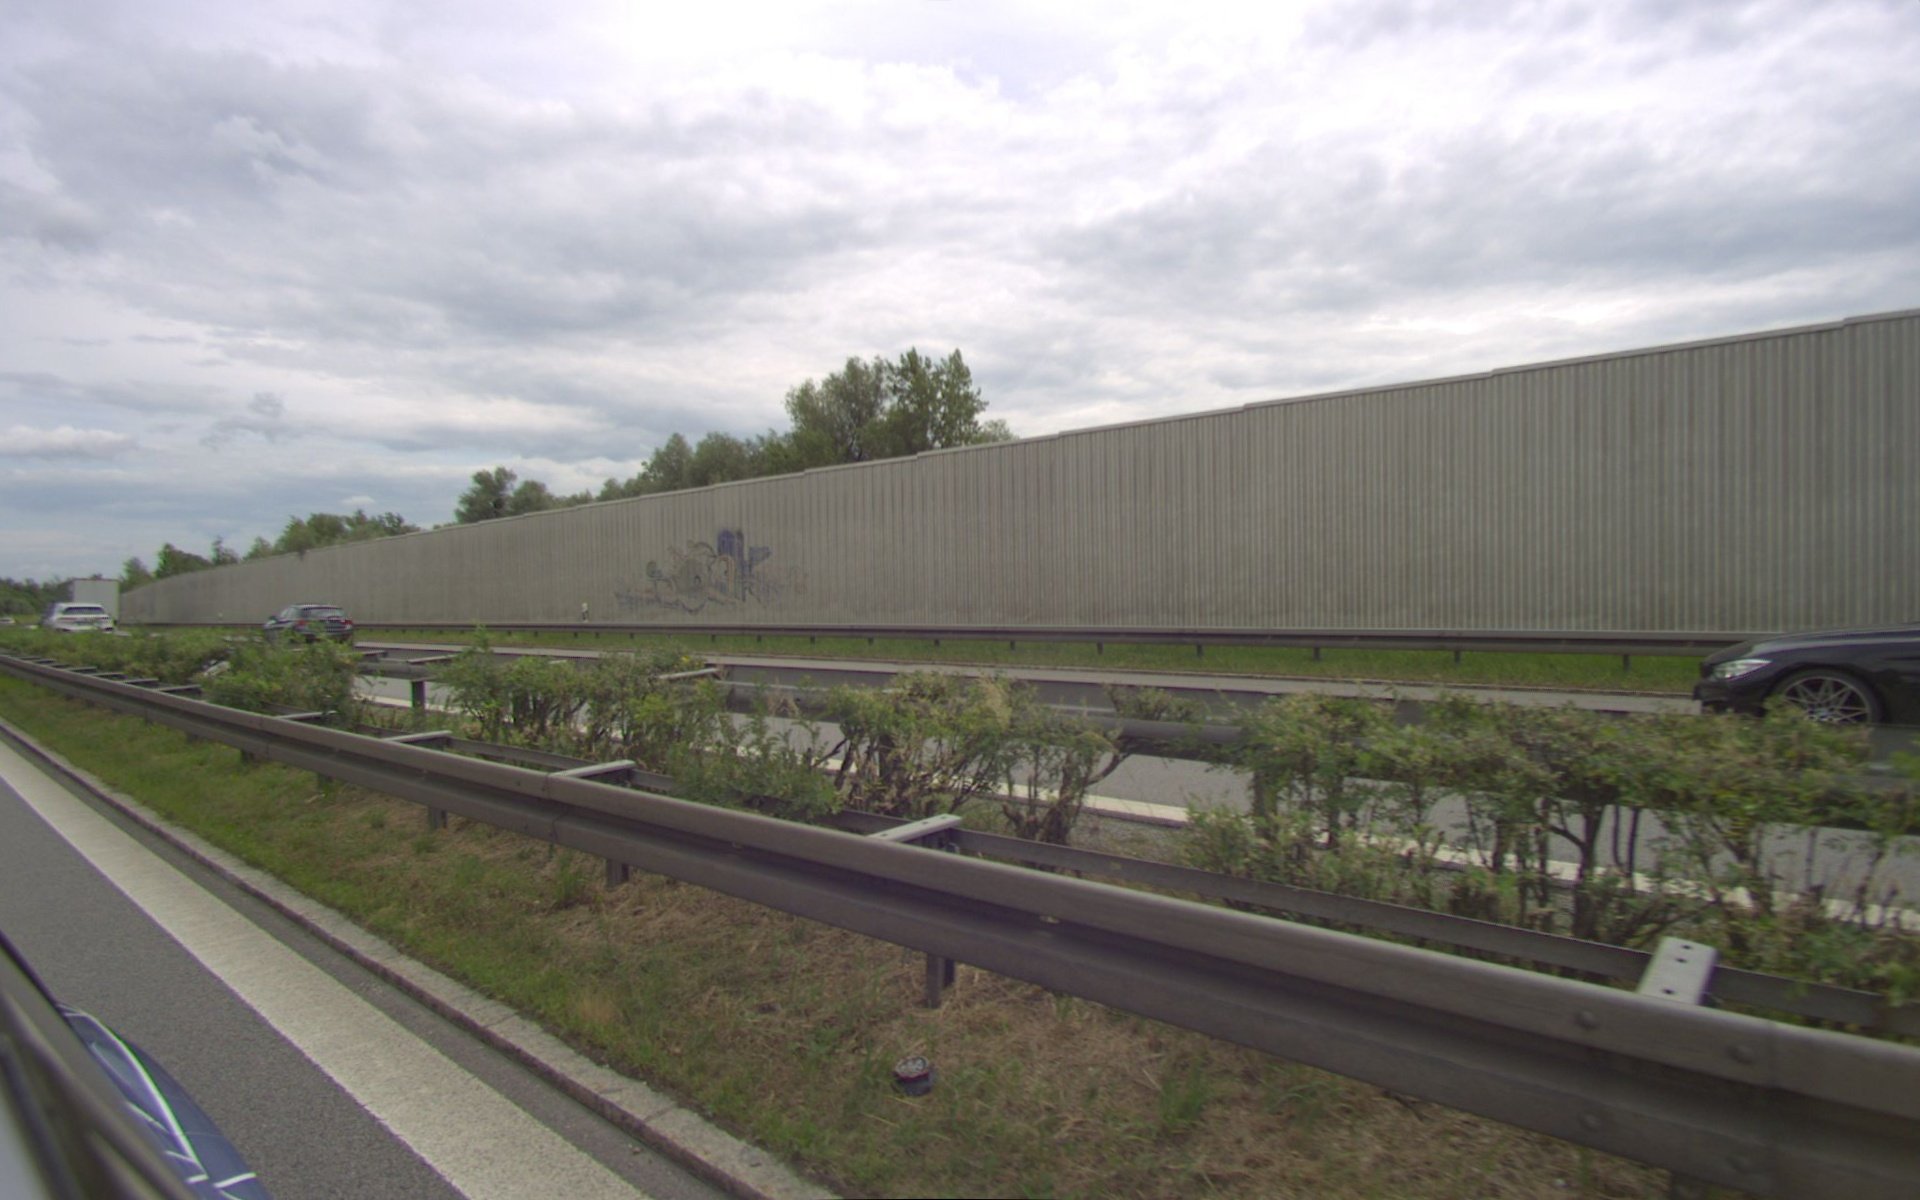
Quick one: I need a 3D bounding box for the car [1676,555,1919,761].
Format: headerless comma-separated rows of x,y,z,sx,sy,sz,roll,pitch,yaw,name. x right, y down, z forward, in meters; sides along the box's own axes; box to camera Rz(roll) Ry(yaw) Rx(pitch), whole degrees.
7.896,0.354,6.712,4.965,1.374,1.973,-1,0,41,car

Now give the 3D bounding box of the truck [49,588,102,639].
-70.980,1.099,81.208,2.840,3.888,6.078,-1,-1,-44,truck

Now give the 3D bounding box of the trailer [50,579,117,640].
-66.356,0.783,76.467,2.947,4.272,14.188,-1,-1,-45,trailer

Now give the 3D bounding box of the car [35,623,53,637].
-119.050,3.905,131.469,1.695,1.654,4.709,-1,-1,-43,car

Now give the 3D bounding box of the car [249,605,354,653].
-21.092,0.916,32.367,4.553,1.428,1.704,-1,-1,42,car

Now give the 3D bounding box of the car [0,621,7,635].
-113.011,3.329,118.458,4.569,1.560,1.909,-2,-1,45,car

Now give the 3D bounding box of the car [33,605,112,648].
-37.124,1.087,42.276,4.923,1.682,1.943,-1,0,42,car
